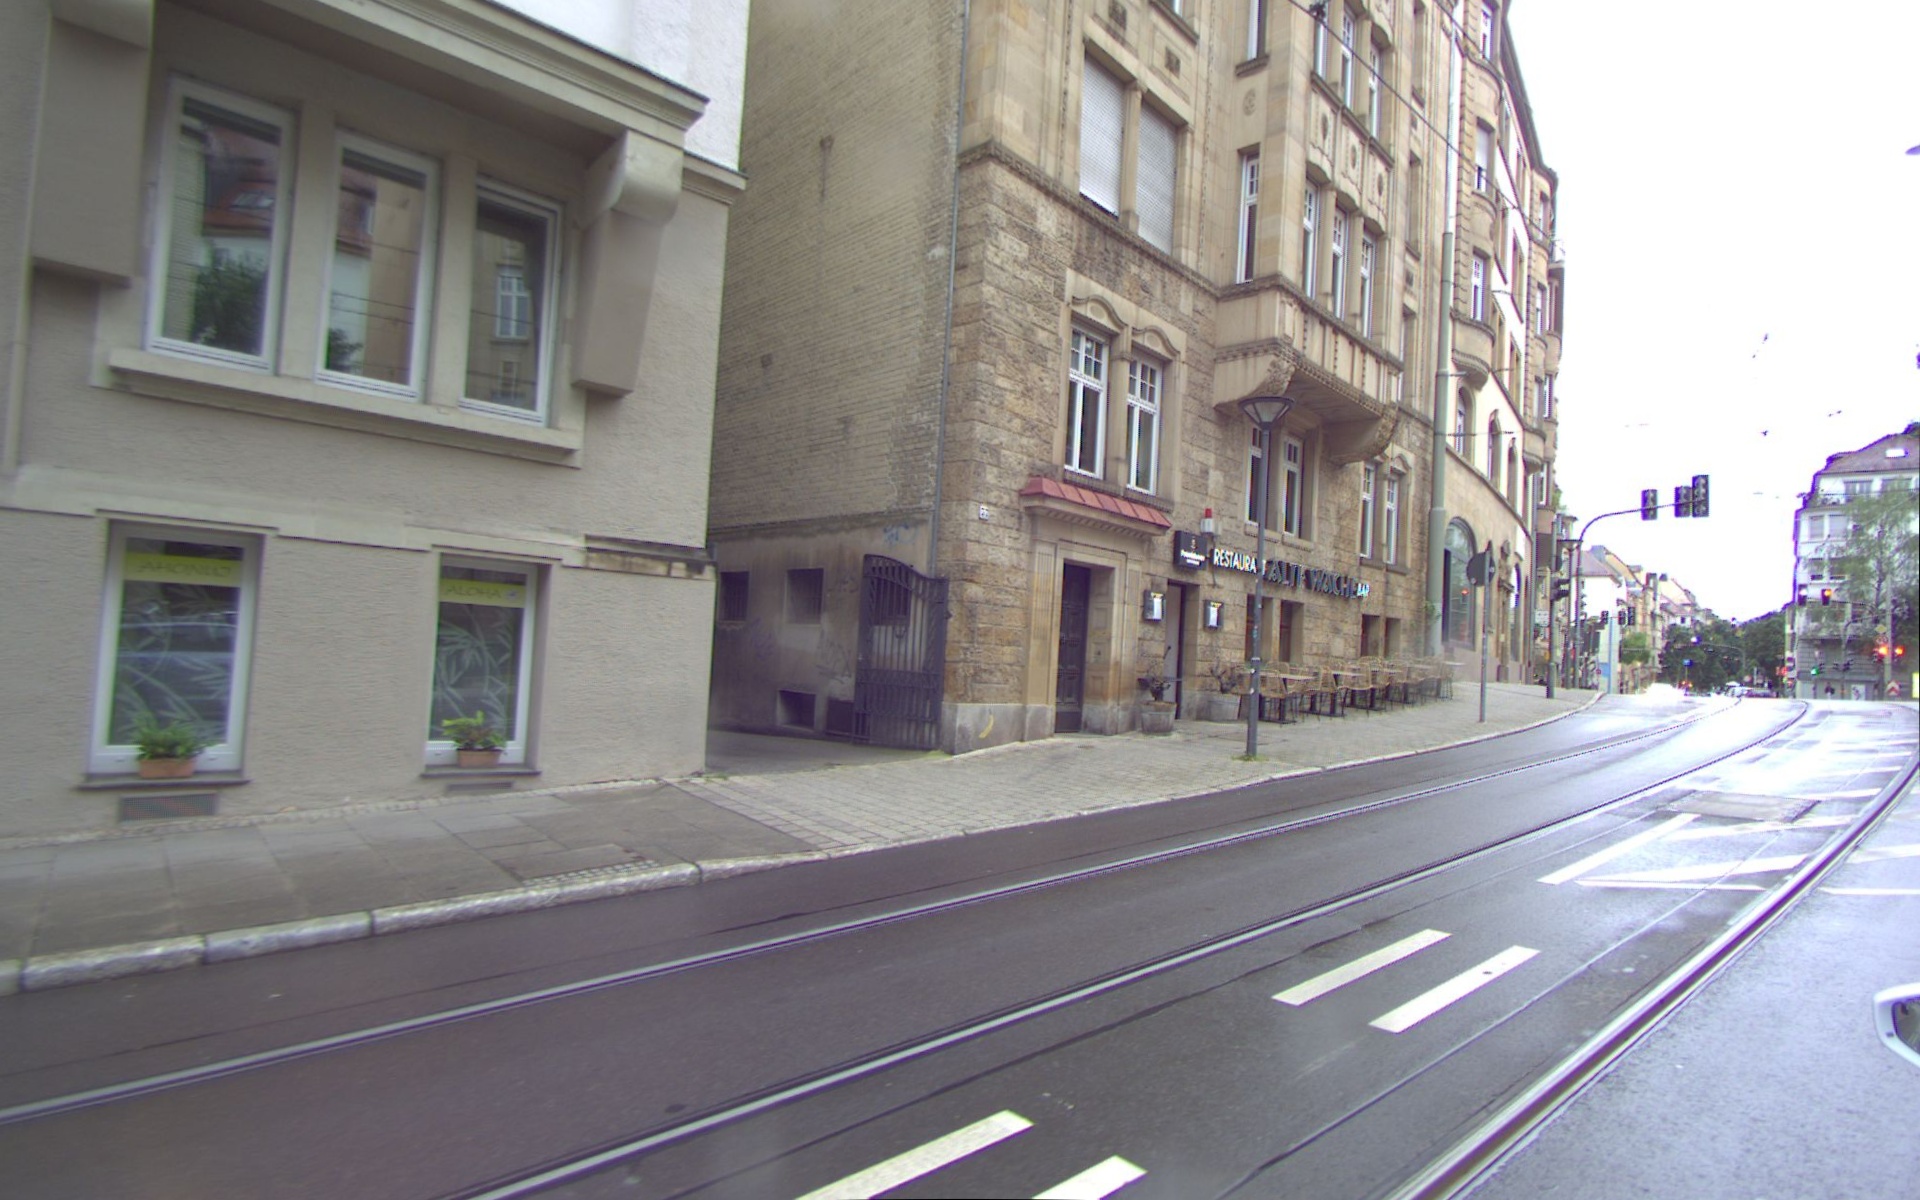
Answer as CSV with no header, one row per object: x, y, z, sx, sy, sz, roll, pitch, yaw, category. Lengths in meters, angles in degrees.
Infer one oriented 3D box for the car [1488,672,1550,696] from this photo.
41.670,6.235,74.915,3.932,1.530,1.795,-1,-2,33,car

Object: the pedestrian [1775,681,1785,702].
67.390,7.505,82.571,0.640,1.683,0.647,1,-1,40,pedestrian

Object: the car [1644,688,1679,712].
53.386,7.562,76.481,1.768,1.530,4.657,-1,-2,30,car

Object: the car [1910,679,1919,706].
62.545,5.863,63.394,3.930,1.635,1.796,1,-2,-12,car

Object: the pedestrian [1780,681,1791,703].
65.671,7.312,79.917,0.640,1.683,0.647,1,-1,40,pedestrian
